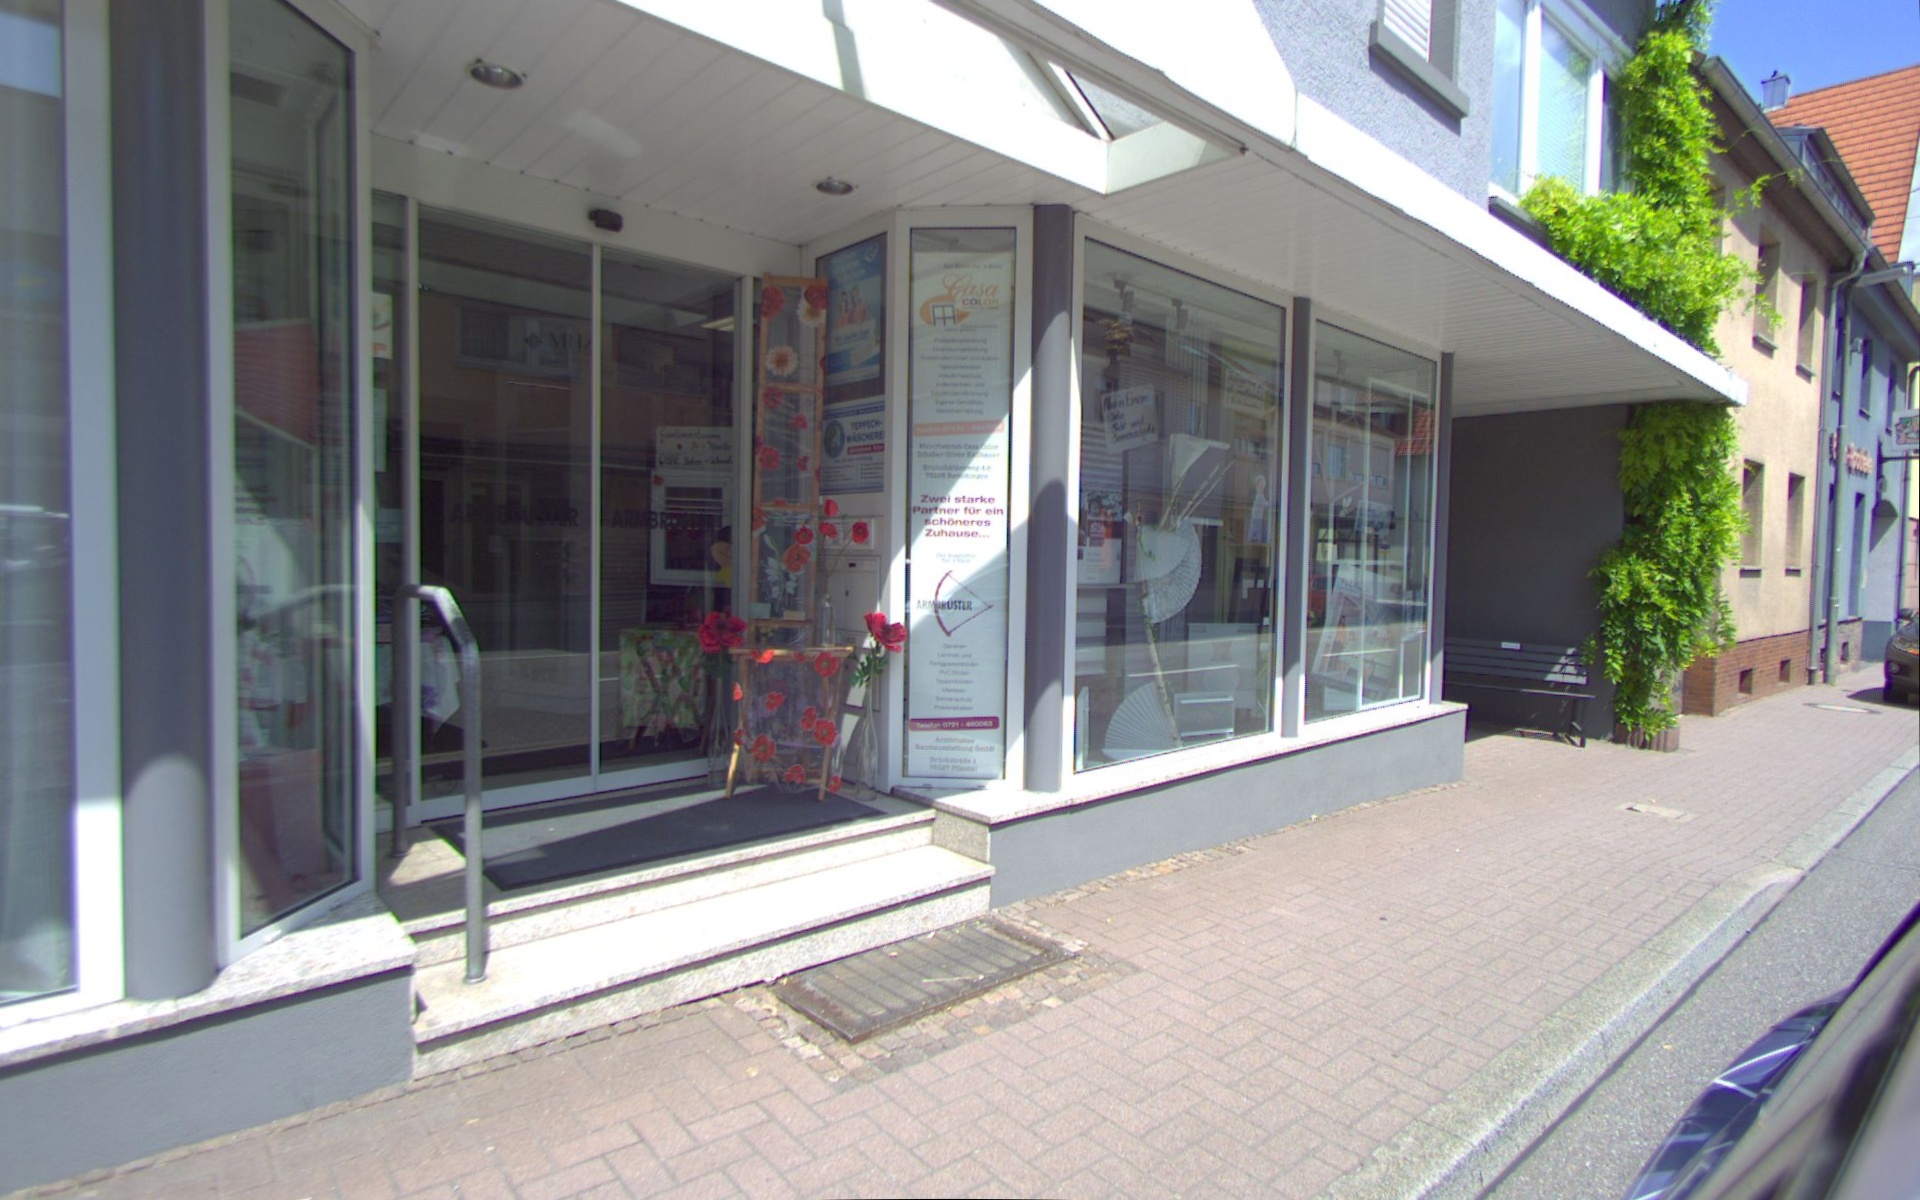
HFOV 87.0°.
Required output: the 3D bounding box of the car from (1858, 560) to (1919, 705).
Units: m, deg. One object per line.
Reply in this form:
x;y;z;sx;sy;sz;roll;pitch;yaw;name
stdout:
13.555;0.428;13.155;4.026;1.729;2.000;-1;5;-38;car
